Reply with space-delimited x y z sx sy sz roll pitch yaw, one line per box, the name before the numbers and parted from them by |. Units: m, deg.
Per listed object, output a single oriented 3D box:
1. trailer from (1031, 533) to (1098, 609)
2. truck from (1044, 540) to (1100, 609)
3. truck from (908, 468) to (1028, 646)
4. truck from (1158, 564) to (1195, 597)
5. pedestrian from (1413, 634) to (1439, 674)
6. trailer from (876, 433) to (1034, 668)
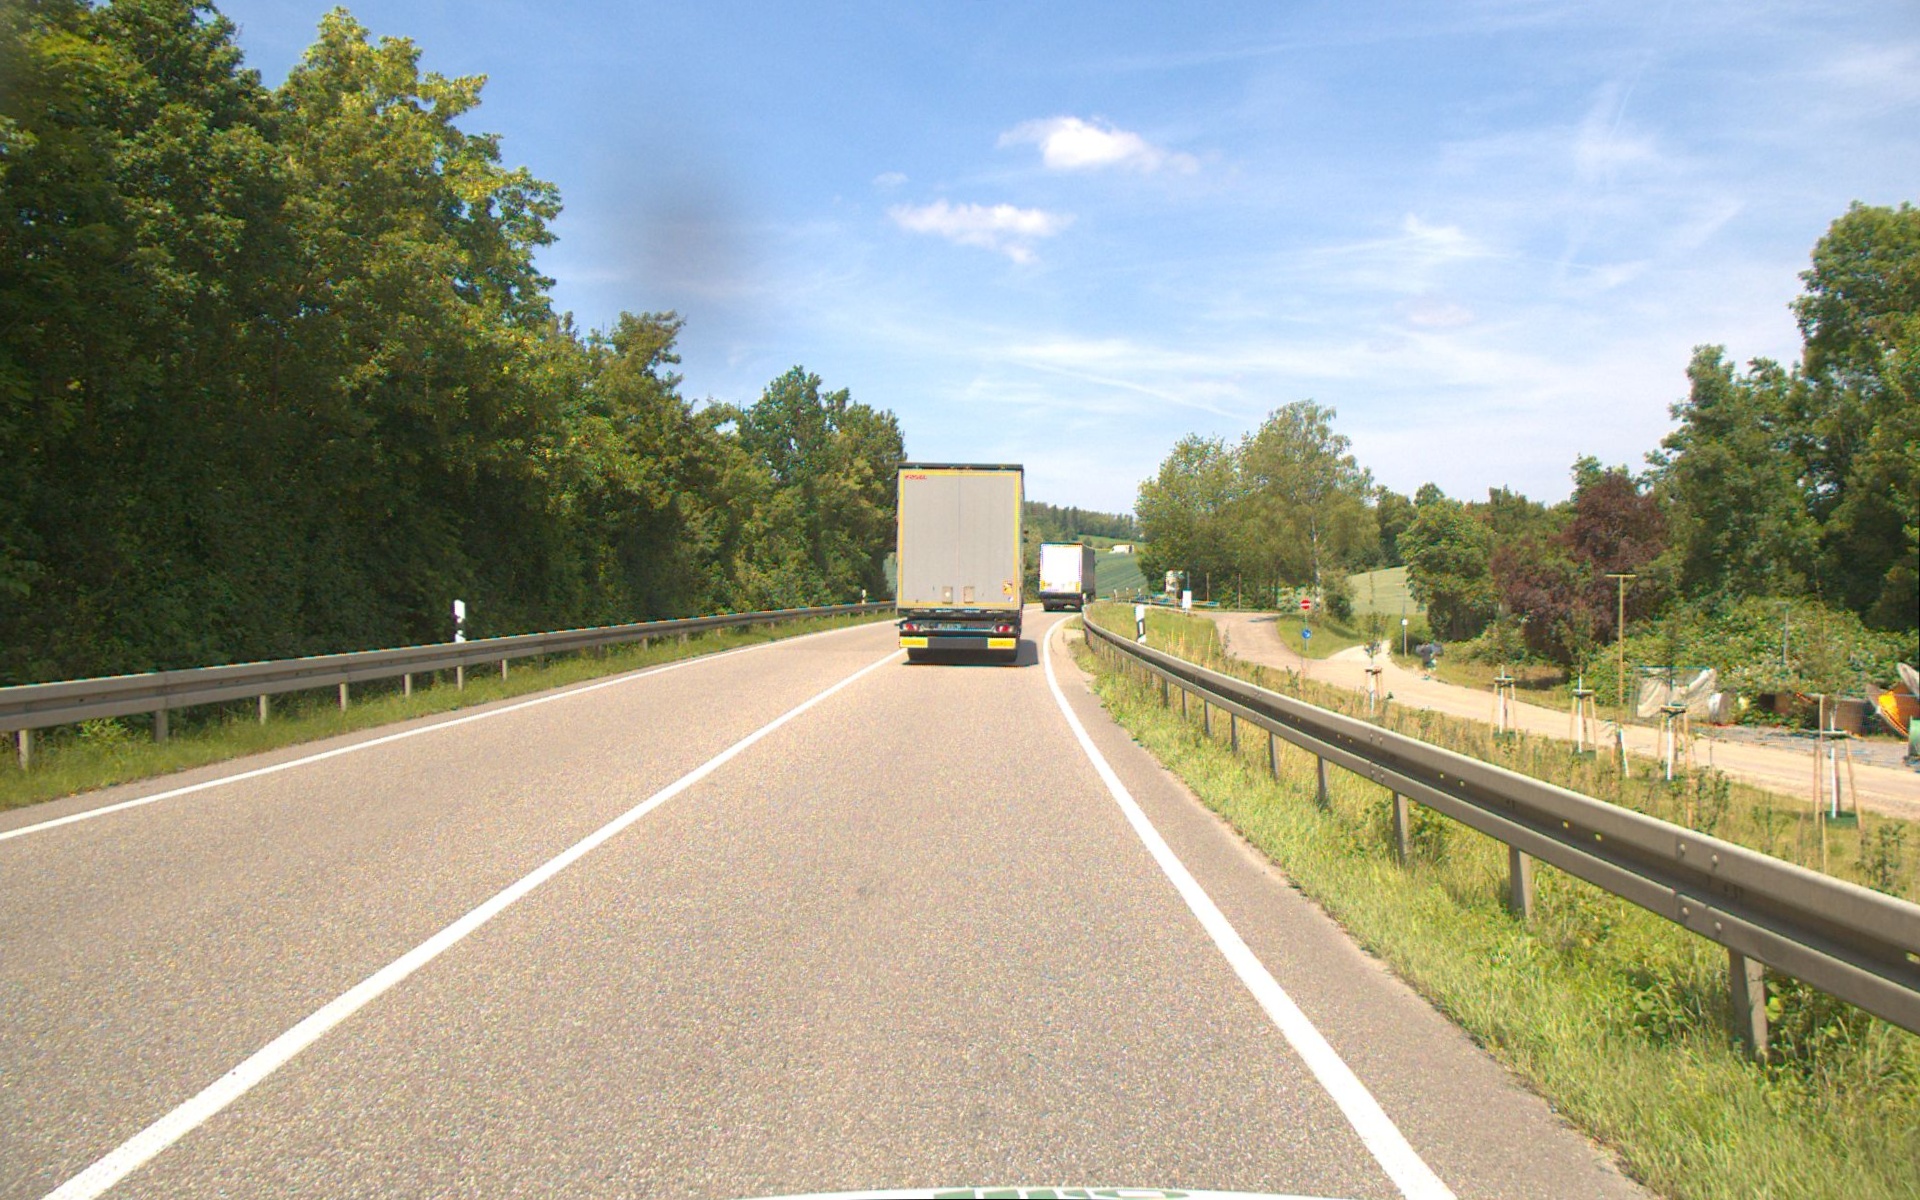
trailer | 6.773 -1.694 104.877 3.293 4.392 13.874 0 -1 7
truck | 7.552 -1.639 110.809 3.293 4.392 6.745 0 -1 7
truck | 0.336 -1.155 46.238 3.053 4.573 6.813 1 1 2
truck | 24.697 -2.140 188.394 3.154 3.424 11.884 0 -1 12
pedestrian | 22.328 2.562 79.261 0.867 1.842 0.959 -2 1 -2
trailer | 0.117 -1.064 39.470 3.053 4.578 13.890 1 1 2
